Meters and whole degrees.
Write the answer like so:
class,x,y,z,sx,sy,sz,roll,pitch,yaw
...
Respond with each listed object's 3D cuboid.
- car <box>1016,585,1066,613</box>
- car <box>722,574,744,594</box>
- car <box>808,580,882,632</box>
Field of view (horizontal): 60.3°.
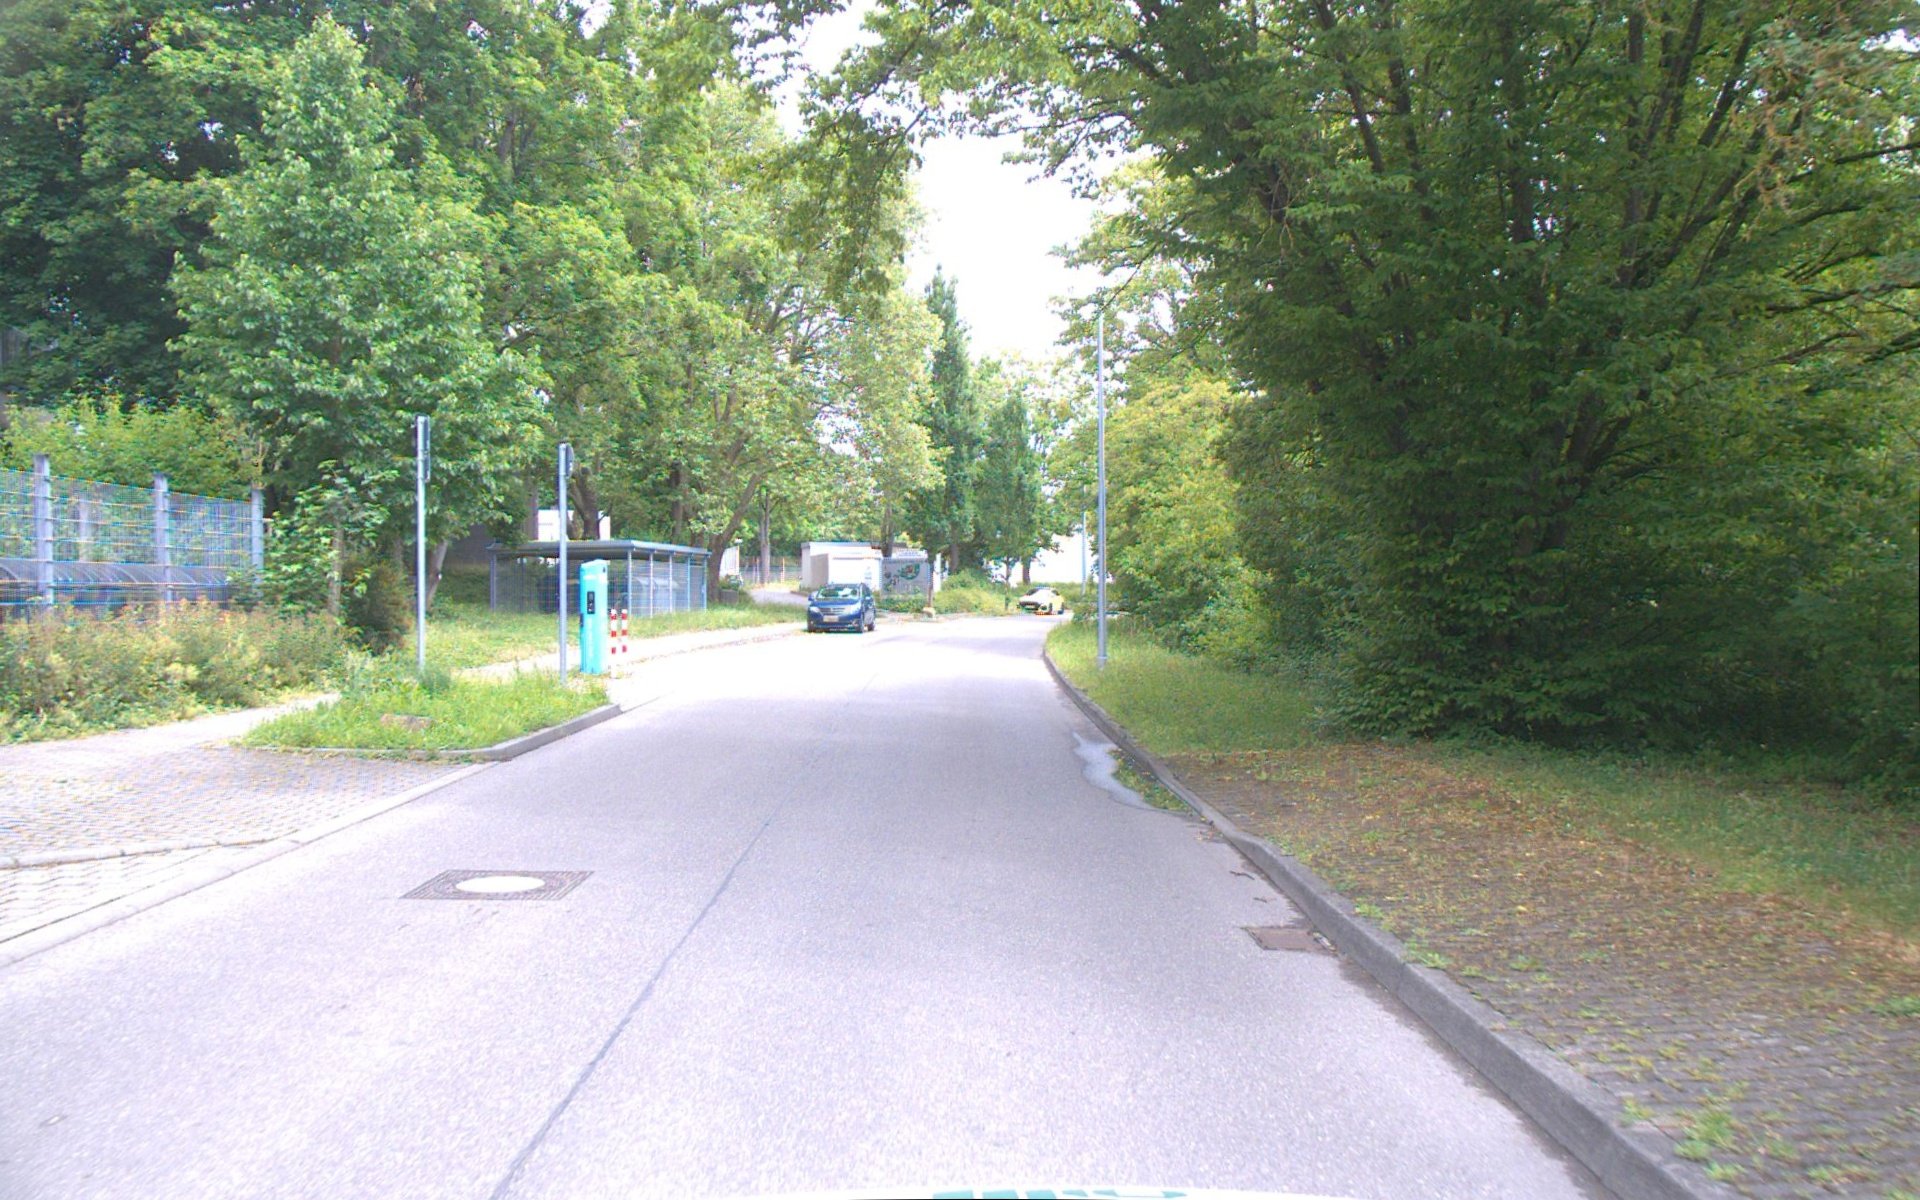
class,x,y,z,sx,sy,sz,roll,pitch,yaw
car,4.383,-0.036,88.890,1.664,1.427,4.275,1,0,17
car,-20.309,-1.422,148.008,1.836,1.777,3.994,0,1,-7
car,-3.550,0.155,51.576,1.644,1.538,4.434,1,0,5
